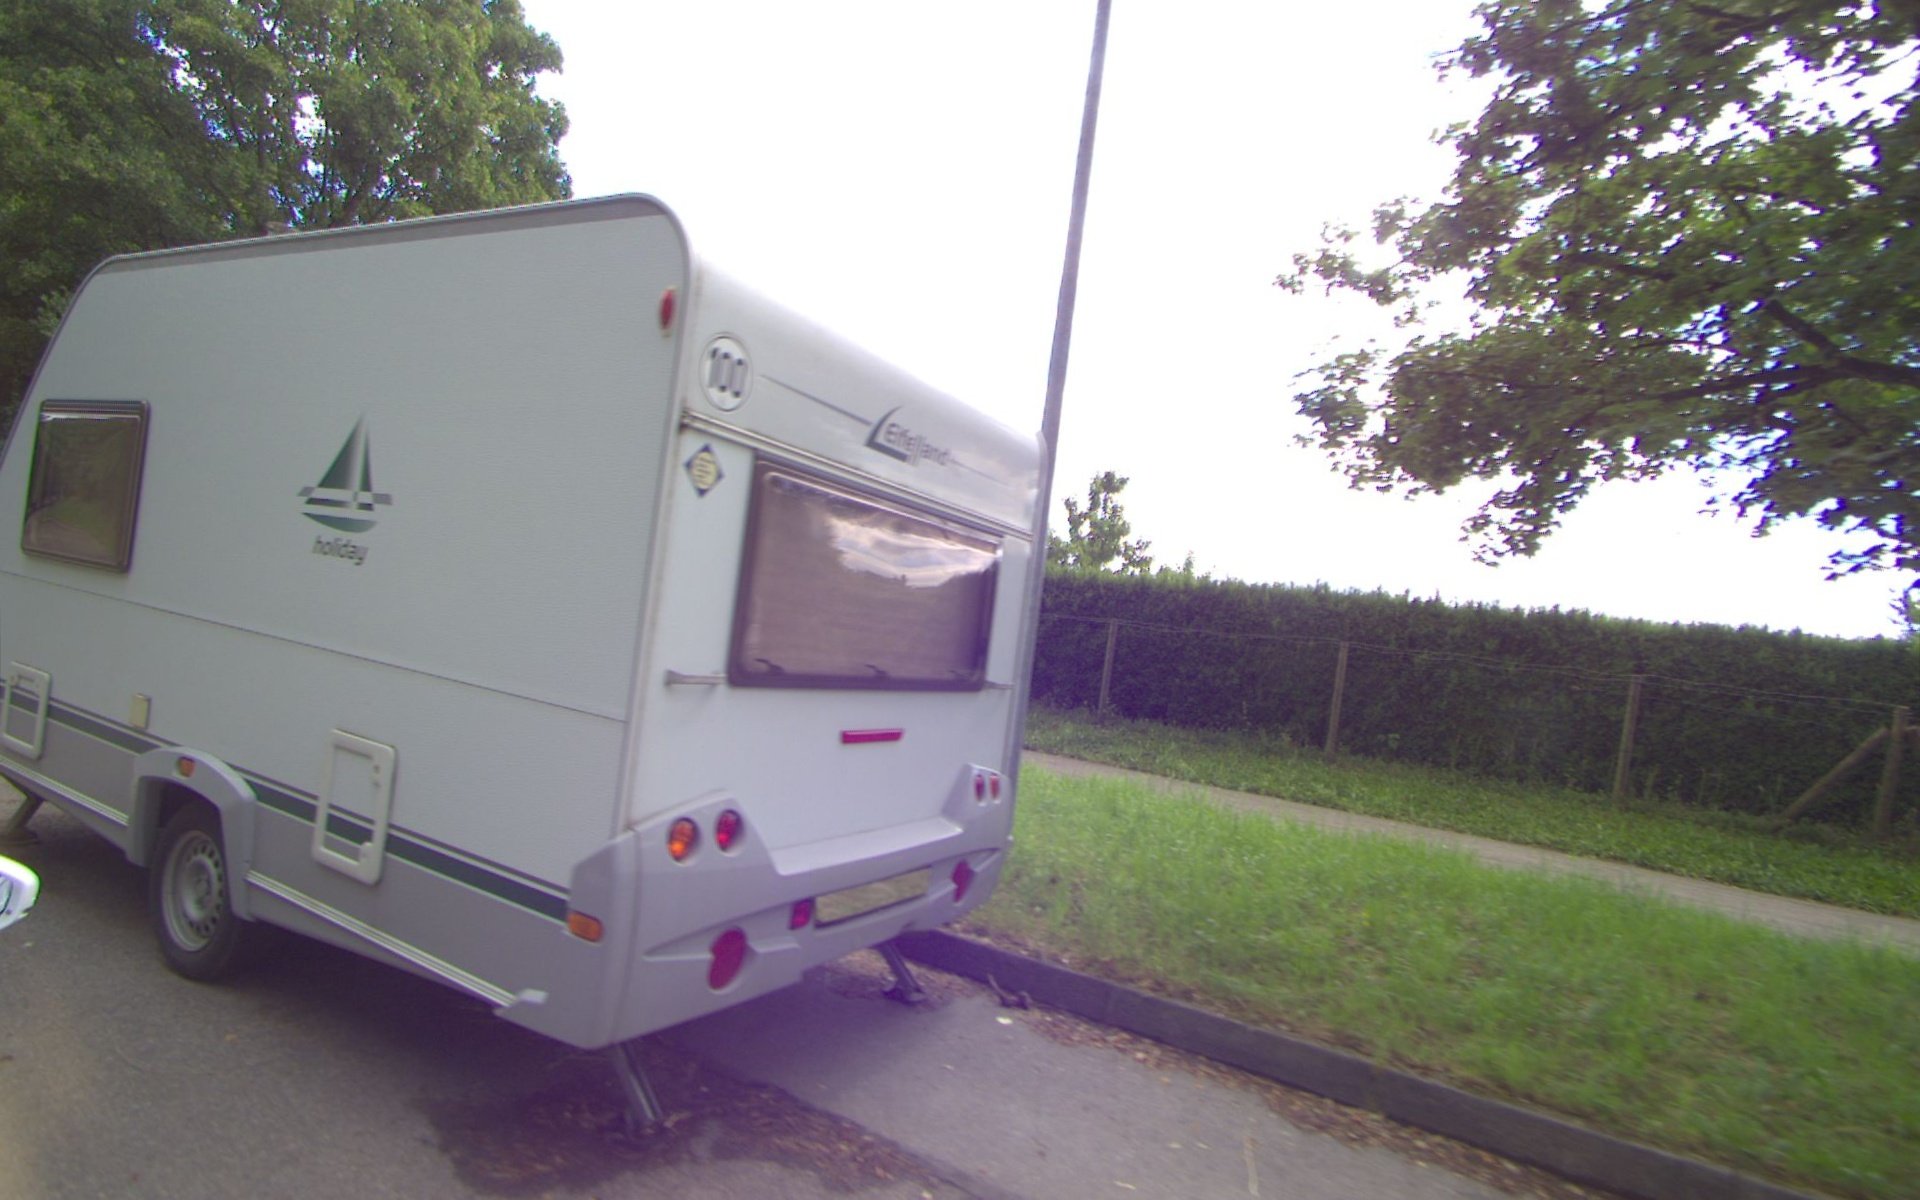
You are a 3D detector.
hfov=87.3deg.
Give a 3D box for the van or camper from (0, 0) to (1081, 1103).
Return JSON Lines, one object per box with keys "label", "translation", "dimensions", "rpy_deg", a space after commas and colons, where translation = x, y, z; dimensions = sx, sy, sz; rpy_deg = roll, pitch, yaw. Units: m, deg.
{"label": "van or camper", "translation": [-2.720, -0.268, 4.667], "dimensions": [5.929, 2.565, 2.167], "rpy_deg": [5, -3, 29]}
